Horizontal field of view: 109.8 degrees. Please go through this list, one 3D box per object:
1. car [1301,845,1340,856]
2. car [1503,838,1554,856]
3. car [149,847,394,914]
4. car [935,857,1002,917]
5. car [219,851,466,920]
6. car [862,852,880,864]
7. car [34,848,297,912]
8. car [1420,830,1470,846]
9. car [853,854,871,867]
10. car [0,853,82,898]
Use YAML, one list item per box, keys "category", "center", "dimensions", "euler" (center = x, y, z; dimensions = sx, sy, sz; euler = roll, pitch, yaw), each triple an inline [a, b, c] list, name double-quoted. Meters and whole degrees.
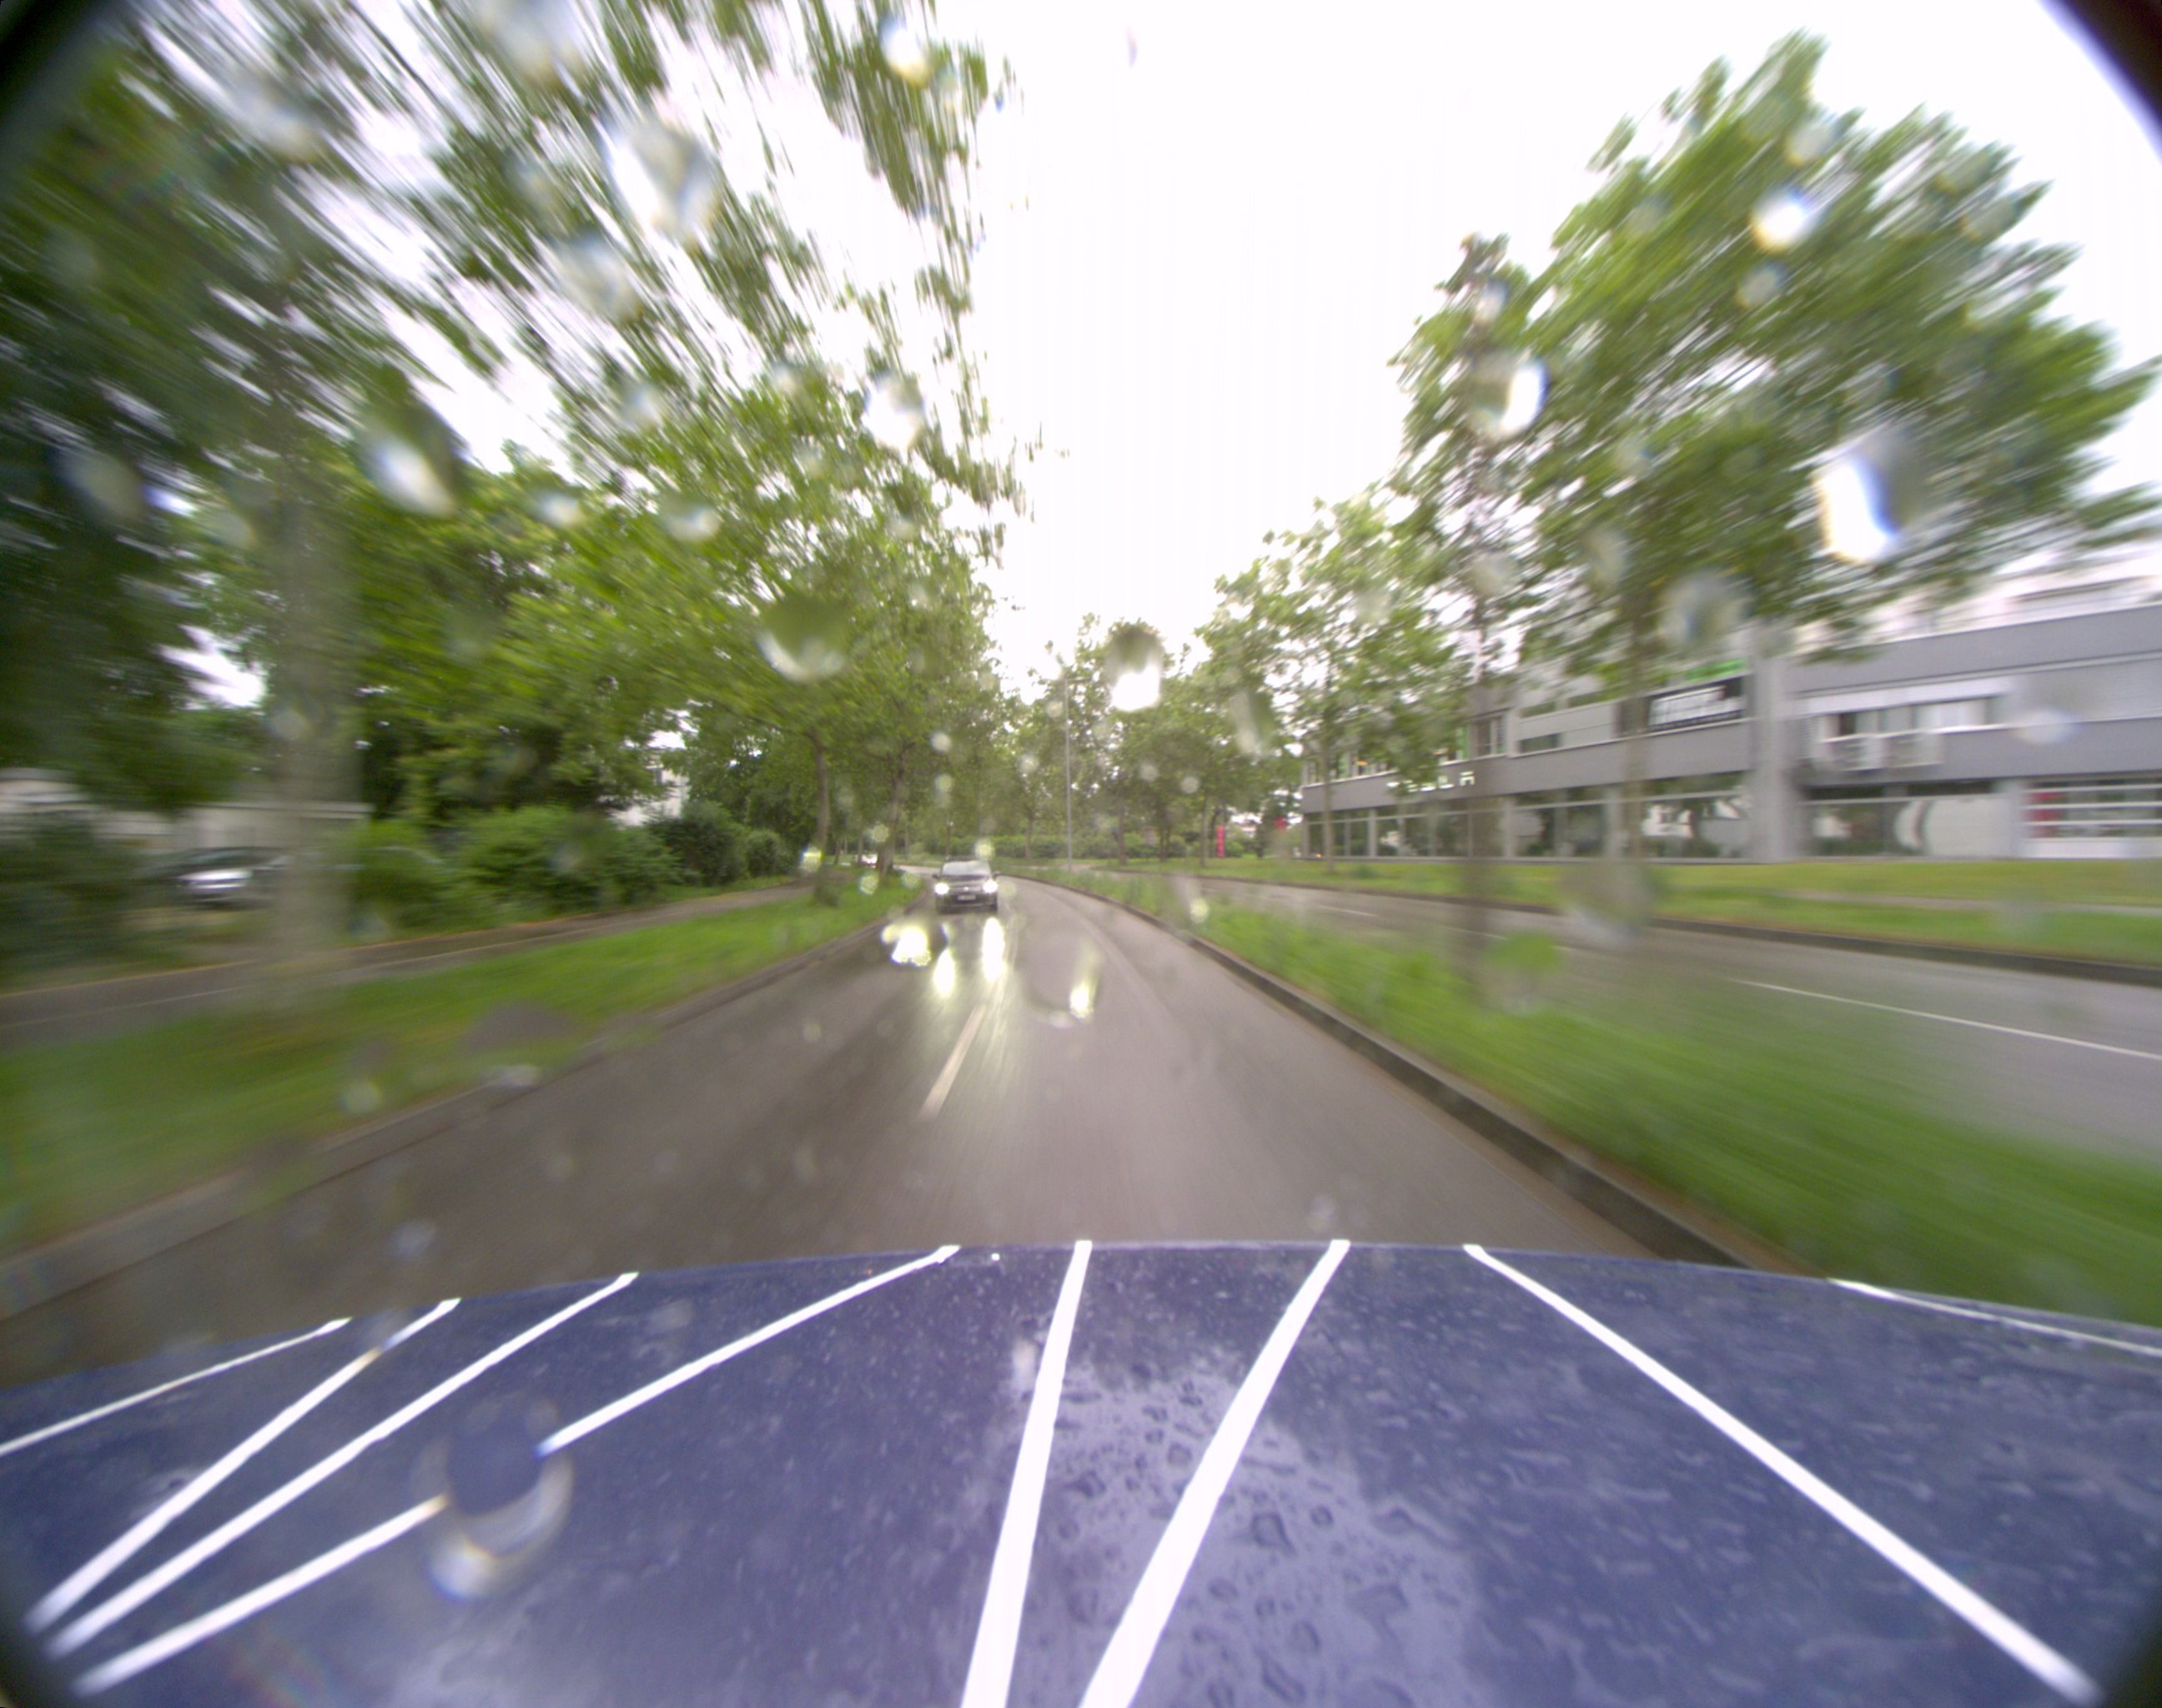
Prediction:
- category: "car"
  center: [29.095, -0.403, 92.238]
  dimensions: [1.601, 1.350, 4.280]
  euler: [-2, 1, -40]
- category: "car"
  center: [46.597, -0.765, 79.198]
  dimensions: [4.197, 1.803, 1.820]
  euler: [-1, 1, 13]
- category: "car"
  center: [-19.313, 0.574, 18.375]
  dimensions: [1.595, 1.412, 3.710]
  euler: [-1, 0, 14]
- category: "car"
  center: [-3.367, 0.919, 23.197]
  dimensions: [1.785, 1.547, 3.997]
  euler: [-3, 1, -7]
- category: "car"
  center: [-16.558, 0.653, 17.315]
  dimensions: [1.595, 1.350, 3.710]
  euler: [-1, 0, 14]
- category: "car"
  center: [-28.099, 0.488, 101.590]
  dimensions: [1.787, 1.546, 3.992]
  euler: [-1, 0, -24]
- category: "car"
  center: [-21.948, 0.570, 18.445]
  dimensions: [1.595, 1.350, 3.710]
  euler: [-1, 0, 14]
- category: "car"
  center: [44.542, -1.969, 93.113]
  dimensions: [1.797, 1.853, 5.216]
  euler: [-2, 1, -42]
- category: "car"
  center: [-27.838, 0.843, 96.592]
  dimensions: [1.787, 1.546, 3.993]
  euler: [-1, 0, -22]
- category: "car"
  center: [-33.757, 0.701, 23.141]
  dimensions: [1.594, 1.350, 3.712]
  euler: [-1, 1, 22]
